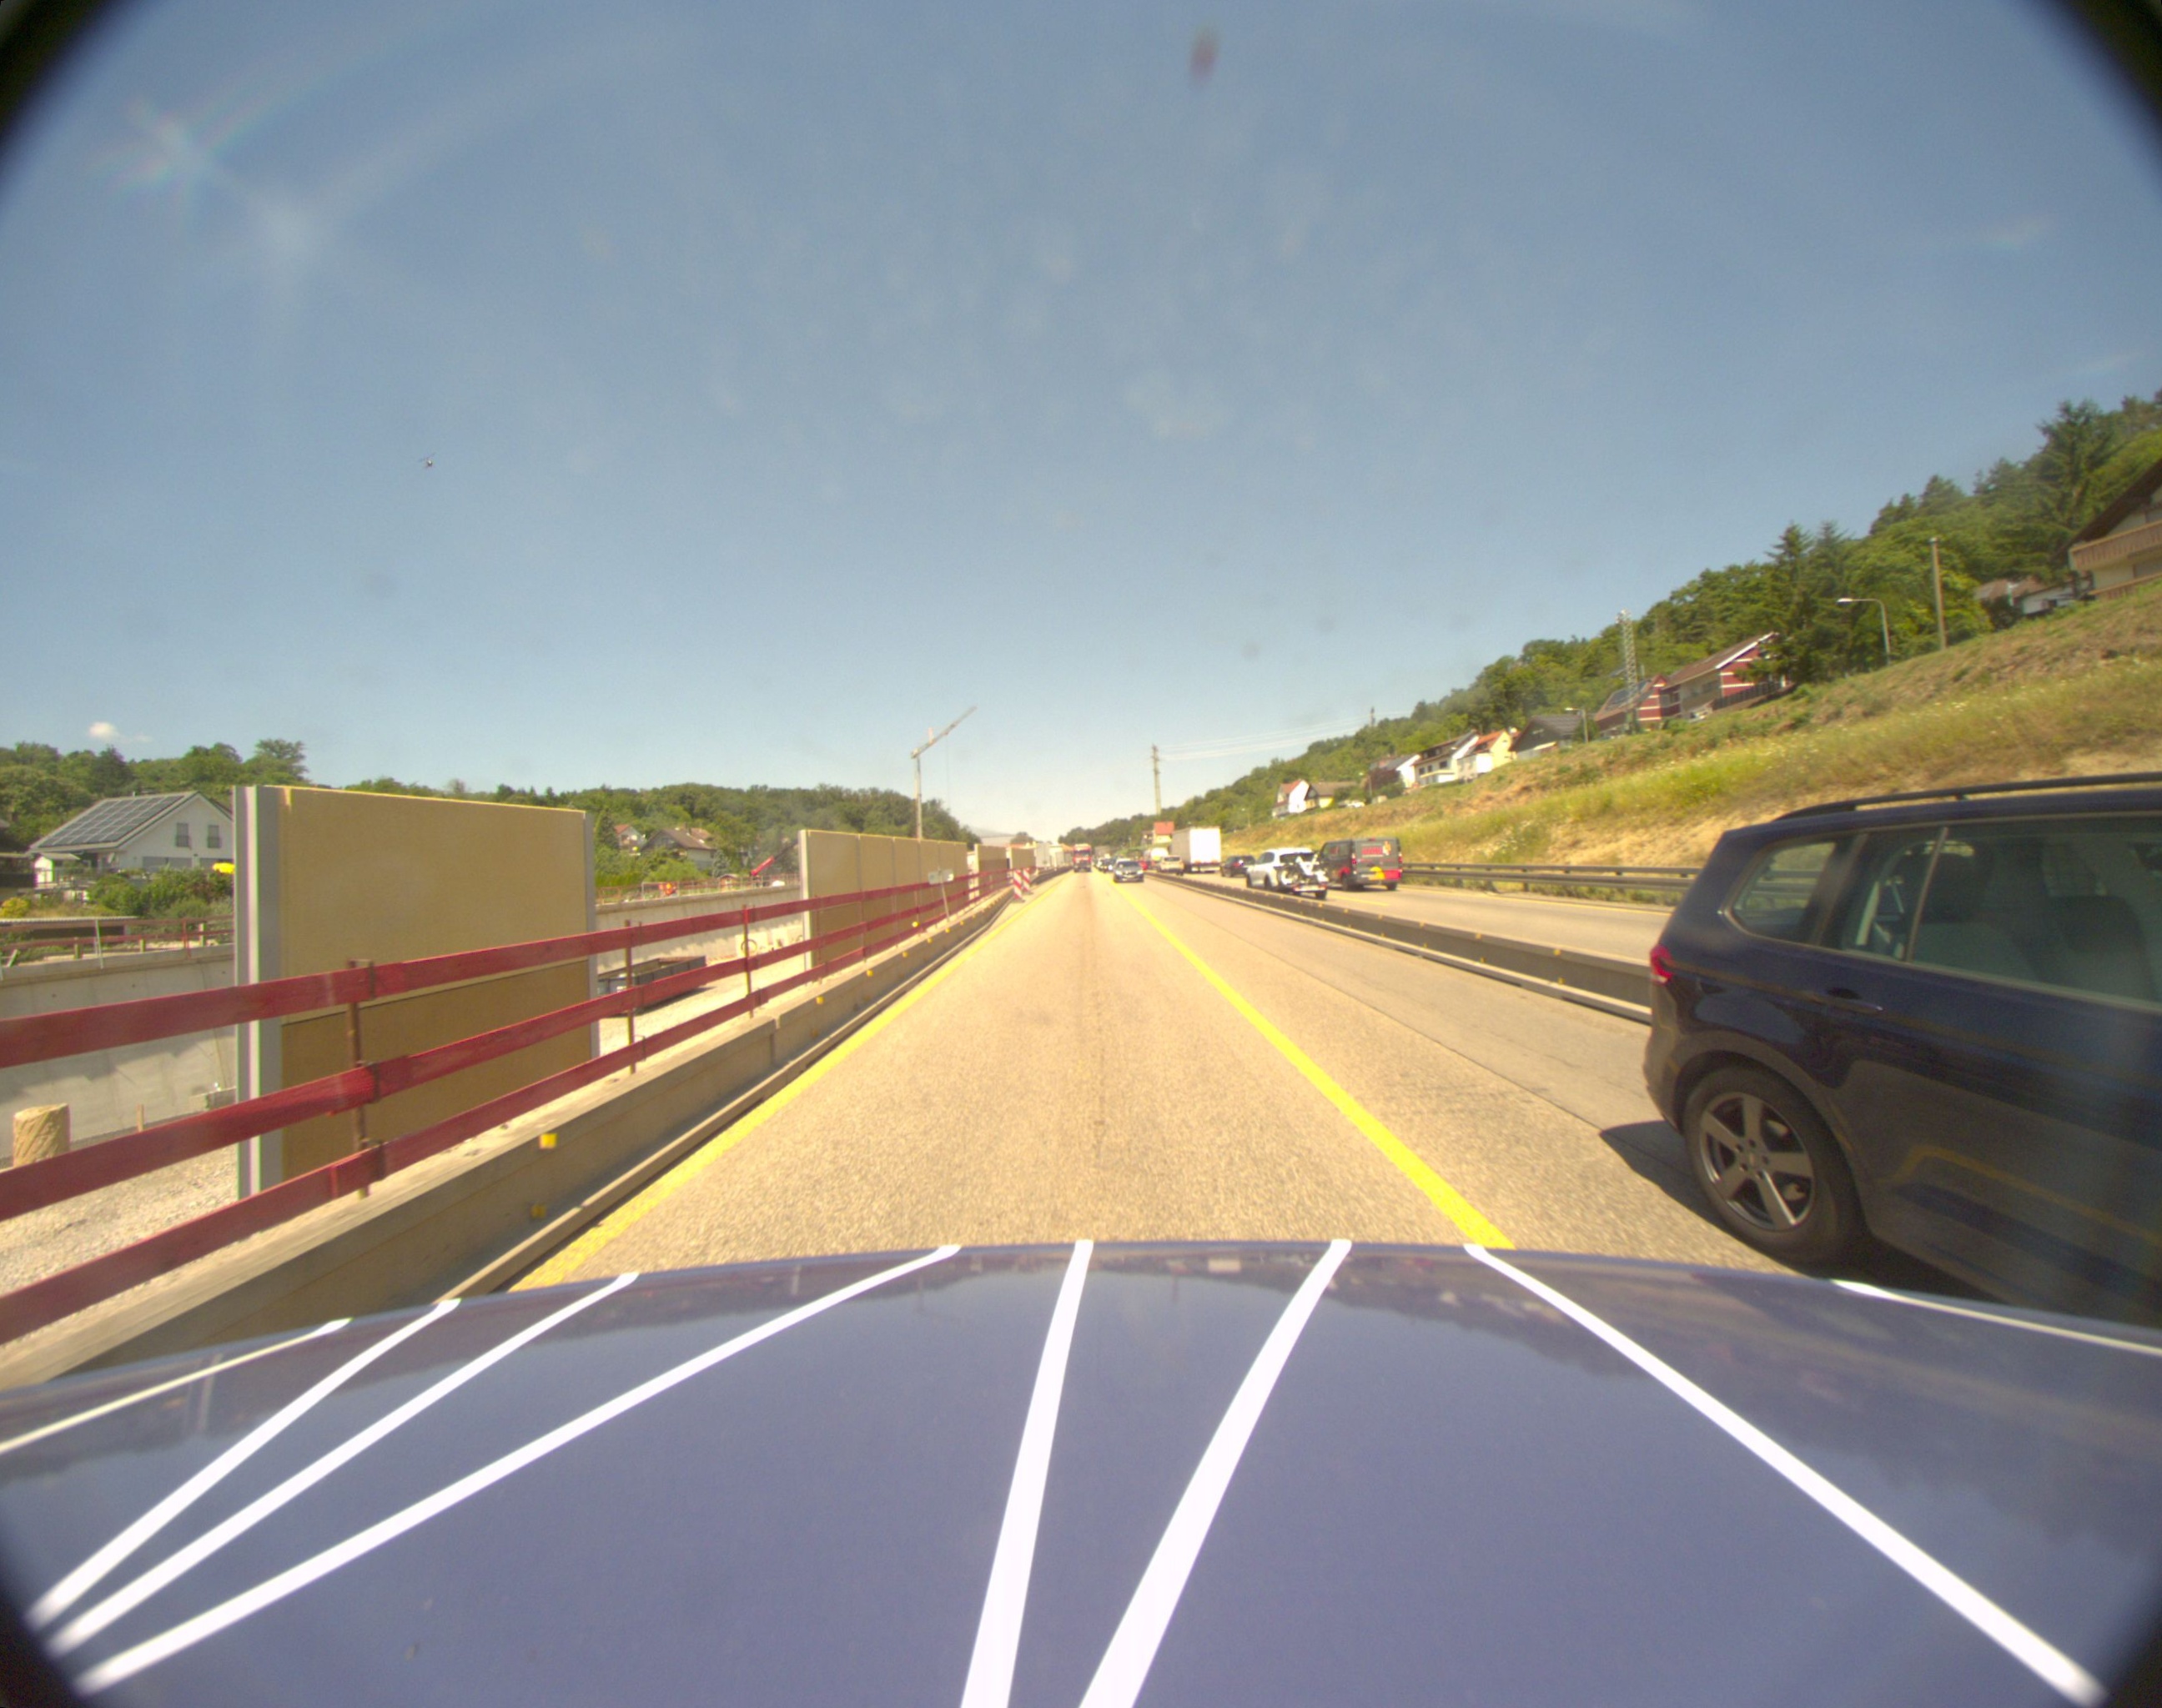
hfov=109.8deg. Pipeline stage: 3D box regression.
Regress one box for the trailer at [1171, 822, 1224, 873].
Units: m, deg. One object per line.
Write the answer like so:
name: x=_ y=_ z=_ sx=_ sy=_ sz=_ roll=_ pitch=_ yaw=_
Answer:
trailer: x=10.665 y=-0.524 z=71.115 sx=2.793 sy=4.157 sz=13.979 roll=-2 pitch=0 yaw=1

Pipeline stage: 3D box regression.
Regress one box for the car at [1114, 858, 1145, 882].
car: x=3.061 y=1.014 z=48.640 sx=1.780 sy=1.447 sz=4.336 roll=-2 pitch=-1 yaw=1

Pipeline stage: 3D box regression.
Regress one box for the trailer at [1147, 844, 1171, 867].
trailer: x=10.874 y=0.220 z=106.001 sx=2.619 sy=2.983 sz=6.370 roll=-2 pitch=0 yaw=1

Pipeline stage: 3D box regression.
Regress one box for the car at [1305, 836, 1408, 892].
car: x=10.415 y=0.358 z=29.164 sx=2.043 sy=1.915 sz=5.121 roll=-1 pitch=0 yaw=0

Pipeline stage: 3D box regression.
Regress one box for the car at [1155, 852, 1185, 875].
car: x=7.076 y=0.714 z=60.534 sx=1.837 sy=1.656 sz=4.414 roll=-2 pitch=0 yaw=0

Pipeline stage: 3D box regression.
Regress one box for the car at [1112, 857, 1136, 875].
car: x=3.638 y=1.012 z=64.833 sx=1.780 sy=1.447 sz=4.336 roll=-2 pitch=-1 yaw=1

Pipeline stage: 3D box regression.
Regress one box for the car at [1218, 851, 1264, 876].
car: x=10.608 y=0.582 z=50.676 sx=1.998 sy=1.498 sz=4.718 roll=-3 pitch=0 yaw=0

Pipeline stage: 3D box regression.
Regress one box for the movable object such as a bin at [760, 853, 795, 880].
movable object such as a bin: x=-37.442 y=1.519 z=93.800 sx=2.202 sy=3.065 sz=4.918 roll=-2 pitch=0 yaw=1

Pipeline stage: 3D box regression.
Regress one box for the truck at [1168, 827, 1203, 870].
truck: x=10.726 y=-0.541 z=78.426 sx=2.752 sy=4.157 sz=5.288 roll=-2 pitch=0 yaw=0

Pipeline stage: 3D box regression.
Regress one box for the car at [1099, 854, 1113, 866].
car: x=3.530 y=0.850 z=106.970 sx=1.780 sy=1.485 sz=4.336 roll=-2 pitch=-1 yaw=1

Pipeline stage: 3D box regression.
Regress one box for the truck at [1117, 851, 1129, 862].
truck: x=12.899 y=0.761 z=234.936 sx=2.770 sy=3.303 sz=15.936 roll=-2 pitch=0 yaw=0

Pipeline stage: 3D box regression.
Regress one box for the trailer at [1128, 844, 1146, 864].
trailer: x=11.694 y=-0.010 z=158.583 sx=2.920 sy=3.915 sz=10.527 roll=-2 pitch=0 yaw=0

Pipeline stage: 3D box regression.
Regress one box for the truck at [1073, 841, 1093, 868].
truck: x=0.370 y=0.125 z=110.389 sx=2.605 sy=3.704 sz=10.537 roll=-2 pitch=-1 yaw=1

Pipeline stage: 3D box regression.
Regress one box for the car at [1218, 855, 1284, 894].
car: x=6.811 y=0.782 z=30.824 sx=1.714 sy=1.410 sz=4.242 roll=-2 pitch=0 yaw=0

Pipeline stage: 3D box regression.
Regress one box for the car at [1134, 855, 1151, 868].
car: x=7.632 y=0.930 z=94.628 sx=1.674 sy=1.457 sz=4.000 roll=-2 pitch=0 yaw=0

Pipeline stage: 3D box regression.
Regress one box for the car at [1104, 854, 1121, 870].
car: x=3.565 y=0.905 z=87.574 sx=1.780 sy=1.727 sz=4.336 roll=-2 pitch=-1 yaw=1

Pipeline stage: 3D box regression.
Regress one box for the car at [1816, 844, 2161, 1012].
car: x=10.150 y=0.630 z=7.490 sx=1.714 sy=1.410 sz=4.242 roll=-2 pitch=0 yaw=0

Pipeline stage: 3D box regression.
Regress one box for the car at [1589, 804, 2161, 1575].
car: x=3.247 y=0.704 z=1.183 sx=1.780 sy=1.708 sz=4.653 roll=-2 pitch=-1 yaw=1

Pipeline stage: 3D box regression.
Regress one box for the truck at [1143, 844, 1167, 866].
truck: x=11.033 y=0.198 z=113.727 sx=2.733 sy=3.124 sz=8.959 roll=-2 pitch=0 yaw=1

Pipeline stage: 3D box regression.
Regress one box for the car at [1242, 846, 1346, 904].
car: x=6.789 y=0.618 z=24.885 sx=1.844 sy=1.644 sz=5.371 roll=-1 pitch=0 yaw=0
